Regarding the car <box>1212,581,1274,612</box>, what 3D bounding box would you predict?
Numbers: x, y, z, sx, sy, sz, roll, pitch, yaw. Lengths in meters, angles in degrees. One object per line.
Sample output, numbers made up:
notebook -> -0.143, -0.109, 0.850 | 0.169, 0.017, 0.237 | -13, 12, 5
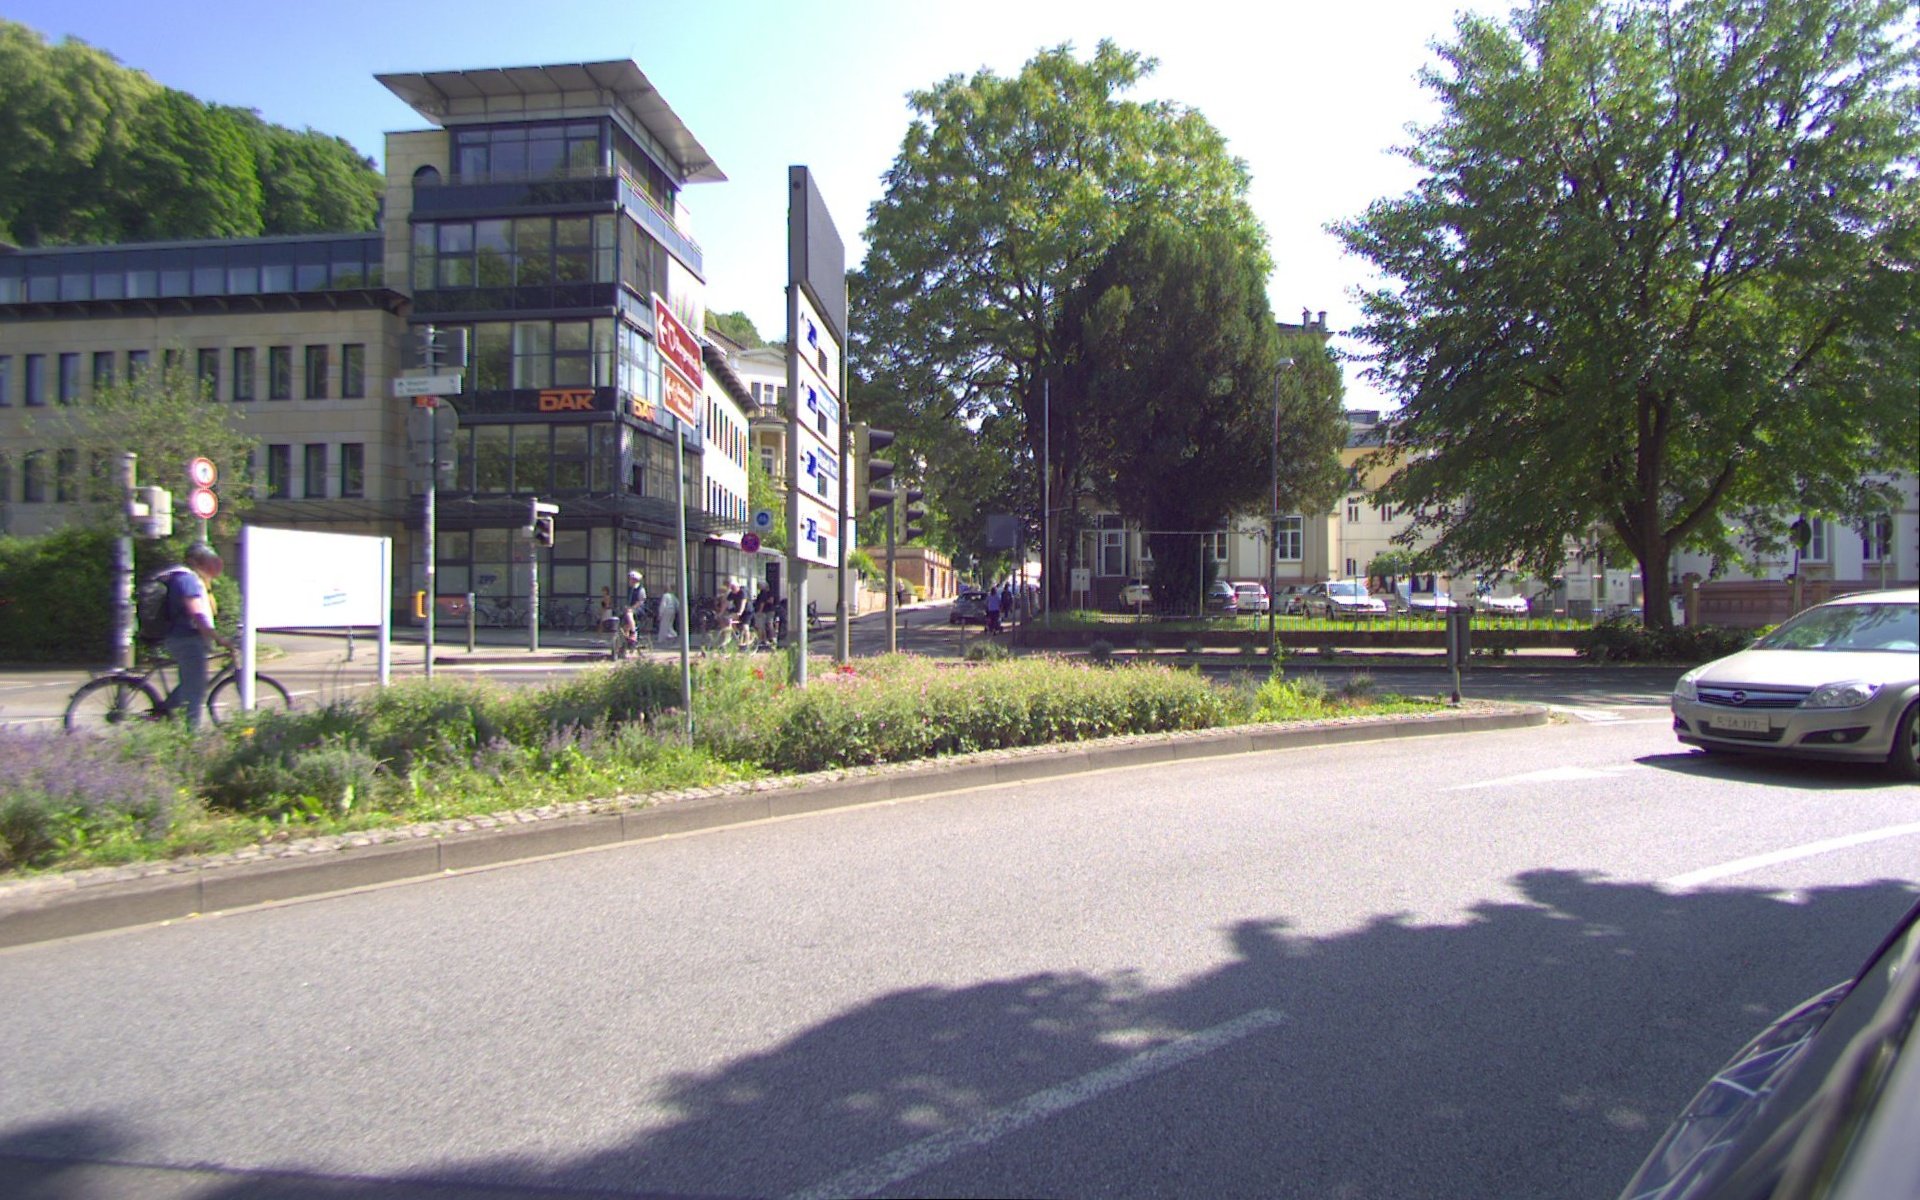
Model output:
car -> 12.634, -0.155, 45.395 | 1.788, 1.353, 4.086 | 0, 0, 2

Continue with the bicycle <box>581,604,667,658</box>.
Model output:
bicycle -> -7.311, 0.653, 22.145 | 0.746, 1.127, 2.072 | 0, -1, 17

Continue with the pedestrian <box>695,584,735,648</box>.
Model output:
pedestrian -> -6.627, 0.431, 27.395 | 0.816, 1.684, 0.771 | 0, -1, 10

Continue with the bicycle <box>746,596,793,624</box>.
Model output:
bicycle -> -7.722, 0.402, 41.075 | 1.803, 1.099, 0.538 | 0, 0, 7

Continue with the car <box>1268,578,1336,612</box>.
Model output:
car -> 15.125, -0.229, 44.951 | 1.788, 1.437, 4.060 | 0, 0, 2

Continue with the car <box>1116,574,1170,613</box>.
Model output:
car -> 8.051, -0.275, 44.886 | 1.788, 1.624, 4.318 | 0, 0, 2

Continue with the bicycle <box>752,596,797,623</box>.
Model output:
bicycle -> -7.850, 0.397, 42.916 | 1.803, 1.099, 0.538 | 0, 0, 7

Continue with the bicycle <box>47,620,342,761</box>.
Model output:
bicycle -> -6.995, 0.763, 9.390 | 0.750, 1.127, 2.061 | -1, -1, 29

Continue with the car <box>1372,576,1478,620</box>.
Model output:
car -> 15.431, -0.070, 33.814 | 1.788, 1.353, 4.095 | 0, 0, 2

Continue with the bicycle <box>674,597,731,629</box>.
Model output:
bicycle -> -8.722, 0.441, 34.313 | 1.803, 1.099, 0.538 | 0, 0, 7

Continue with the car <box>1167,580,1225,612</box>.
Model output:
car -> 10.516, -0.188, 45.388 | 1.788, 1.353, 4.051 | 0, 0, 2

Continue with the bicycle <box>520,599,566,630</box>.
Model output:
bicycle -> -13.058, 0.461, 31.705 | 1.317, 0.953, 0.406 | 0, 0, 6

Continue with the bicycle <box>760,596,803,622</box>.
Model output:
bicycle -> -7.775, 0.392, 44.137 | 1.803, 1.099, 0.538 | 0, 0, 7

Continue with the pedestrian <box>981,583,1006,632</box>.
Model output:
pedestrian -> 1.118, 0.246, 33.374 | 0.728, 1.601, 1.121 | -1, 0, 7

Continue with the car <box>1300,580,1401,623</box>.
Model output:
car -> 12.982, 0.045, 33.898 | 1.788, 1.353, 4.477 | 0, 0, 2

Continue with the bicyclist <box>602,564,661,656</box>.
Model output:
bicyclist -> -7.246, 0.223, 22.369 | 0.738, 1.957, 1.123 | -1, -1, 17

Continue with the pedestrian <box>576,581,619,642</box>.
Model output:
pedestrian -> -10.069, 0.316, 28.116 | 0.817, 1.684, 0.770 | 0, -1, 15

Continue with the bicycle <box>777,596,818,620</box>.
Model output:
bicycle -> -7.464, 0.379, 46.500 | 1.803, 1.099, 0.538 | 0, 0, 7

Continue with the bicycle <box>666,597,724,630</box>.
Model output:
bicycle -> -8.801, 0.444, 33.673 | 1.803, 1.099, 0.538 | 0, 0, 7

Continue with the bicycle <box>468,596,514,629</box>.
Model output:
bicycle -> -14.851, 0.383, 32.060 | 1.317, 1.025, 0.406 | 0, 0, 6

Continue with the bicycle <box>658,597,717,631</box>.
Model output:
bicycle -> -8.909, 0.447, 33.122 | 1.803, 1.099, 0.538 | 0, 0, 7

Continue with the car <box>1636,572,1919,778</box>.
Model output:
car -> 8.466, 0.547, 8.889 | 4.396, 1.519, 1.723 | 0, -1, -16

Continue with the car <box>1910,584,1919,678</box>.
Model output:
car -> 17.129, 0.482, 14.704 | 4.663, 1.455, 1.999 | 0, 0, 1

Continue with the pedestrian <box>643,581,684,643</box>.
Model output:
pedestrian -> -8.286, 0.333, 28.271 | 0.817, 1.684, 0.770 | 0, -1, 15

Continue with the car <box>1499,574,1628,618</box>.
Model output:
car -> 19.882, -0.128, 33.581 | 1.955, 1.353, 4.051 | 0, 0, 2

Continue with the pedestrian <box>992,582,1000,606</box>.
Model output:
pedestrian -> 3.213, -0.534, 89.520 | 0.710, 2.039, 0.860 | 0, 0, 4

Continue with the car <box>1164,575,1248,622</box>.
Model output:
car -> 8.349, -0.050, 34.719 | 1.842, 1.494, 4.156 | 0, 0, 0

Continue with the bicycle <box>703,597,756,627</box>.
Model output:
bicycle -> -8.378, 0.427, 36.786 | 1.803, 1.099, 0.538 | 0, 0, 7

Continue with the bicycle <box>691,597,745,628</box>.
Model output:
bicycle -> -8.487, 0.433, 35.511 | 1.803, 1.099, 0.538 | 0, 0, 7

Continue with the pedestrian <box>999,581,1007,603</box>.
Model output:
pedestrian -> 4.031, -0.775, 94.773 | 0.710, 2.039, 0.860 | 0, 0, 4

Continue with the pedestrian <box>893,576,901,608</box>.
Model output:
pedestrian -> -4.087, -0.524, 65.892 | 0.484, 2.039, 0.579 | 0, 0, 0

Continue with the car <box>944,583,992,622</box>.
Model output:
car -> 0.399, 0.078, 45.265 | 1.801, 1.667, 4.127 | 0, 0, 5

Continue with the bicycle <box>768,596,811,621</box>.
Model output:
bicycle -> -7.643, 0.385, 45.338 | 1.803, 1.099, 0.538 | 0, 0, 7

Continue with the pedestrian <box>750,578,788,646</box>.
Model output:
pedestrian -> -5.383, 0.343, 28.482 | 0.817, 1.878, 0.770 | 0, -1, 13

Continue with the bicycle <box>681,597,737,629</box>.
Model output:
bicycle -> -8.663, 0.438, 34.907 | 1.803, 1.099, 0.538 | 0, 0, 7

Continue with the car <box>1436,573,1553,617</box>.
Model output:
car -> 17.640, -0.152, 33.614 | 1.826, 1.353, 4.051 | 0, 0, 2

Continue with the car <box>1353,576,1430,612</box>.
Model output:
car -> 19.257, -0.240, 45.316 | 1.831, 1.528, 4.060 | 0, 0, 2

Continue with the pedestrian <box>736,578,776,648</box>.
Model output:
pedestrian -> -5.566, 0.350, 27.654 | 0.817, 1.878, 0.770 | 0, -1, 13

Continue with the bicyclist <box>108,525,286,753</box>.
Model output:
bicyclist -> -7.032, 0.340, 9.361 | 0.742, 1.957, 1.118 | -1, -1, 30

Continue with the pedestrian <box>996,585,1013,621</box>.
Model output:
pedestrian -> 1.978, 0.127, 44.943 | 0.757, 1.565, 0.666 | 0, 0, 7

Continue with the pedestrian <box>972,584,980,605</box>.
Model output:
pedestrian -> 1.618, -0.559, 102.051 | 0.710, 2.039, 0.860 | 0, 0, 4

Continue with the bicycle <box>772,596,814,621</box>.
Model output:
bicycle -> -7.568, 0.382, 45.905 | 1.803, 1.099, 0.538 | 0, 0, 7

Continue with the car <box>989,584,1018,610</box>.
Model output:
car -> 2.931, -0.218, 67.660 | 1.801, 1.667, 4.127 | 0, 0, 5
